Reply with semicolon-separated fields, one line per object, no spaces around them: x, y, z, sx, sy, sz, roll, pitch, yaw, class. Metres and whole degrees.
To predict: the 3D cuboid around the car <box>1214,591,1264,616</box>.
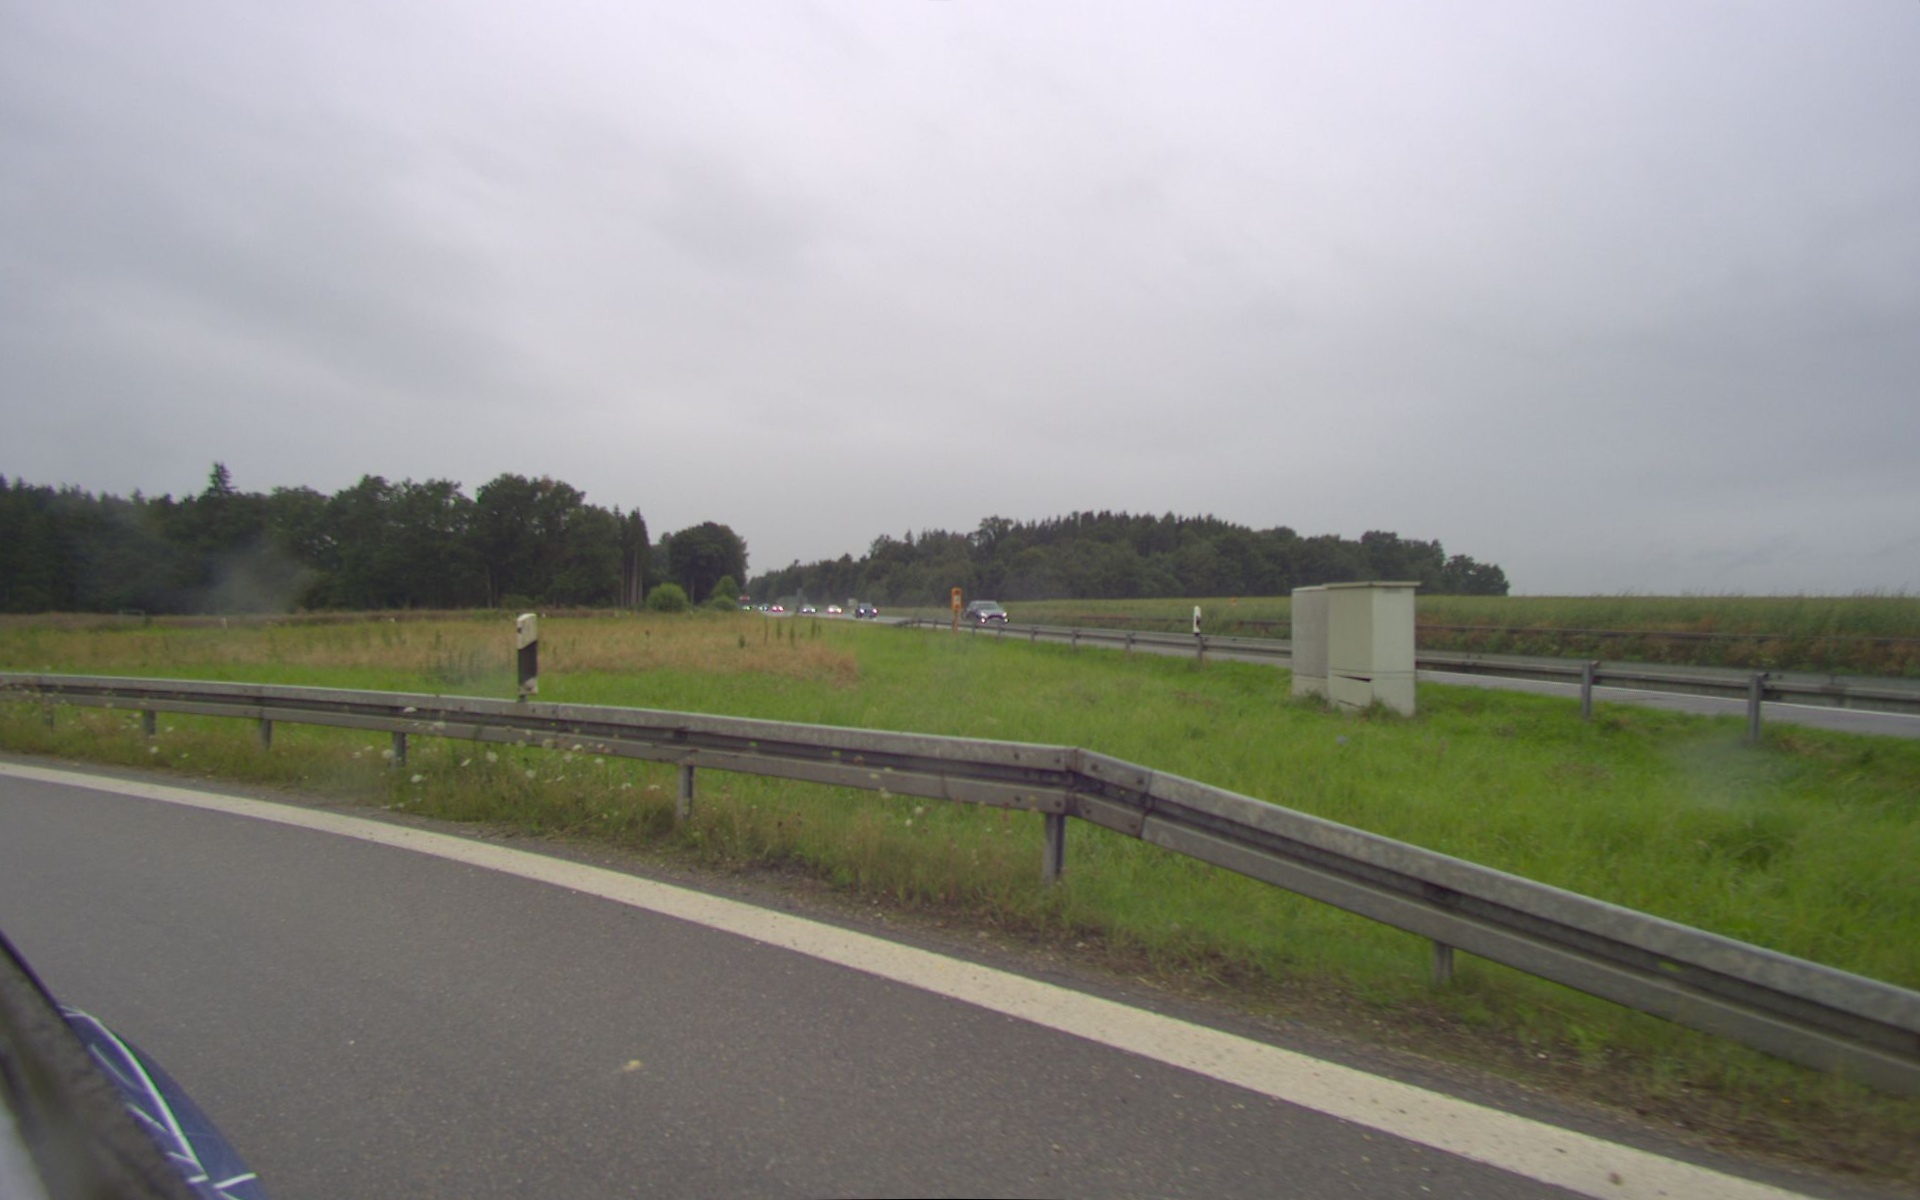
20.669;0.261;75.133;1.706;1.750;4.012;-1;-1;-16;car

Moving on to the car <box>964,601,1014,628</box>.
1.777;0.935;64.664;1.837;1.646;5.115;0;0;-14;car

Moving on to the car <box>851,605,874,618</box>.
-11.069;1.316;114.901;2.065;1.465;4.606;1;-1;-12;car
